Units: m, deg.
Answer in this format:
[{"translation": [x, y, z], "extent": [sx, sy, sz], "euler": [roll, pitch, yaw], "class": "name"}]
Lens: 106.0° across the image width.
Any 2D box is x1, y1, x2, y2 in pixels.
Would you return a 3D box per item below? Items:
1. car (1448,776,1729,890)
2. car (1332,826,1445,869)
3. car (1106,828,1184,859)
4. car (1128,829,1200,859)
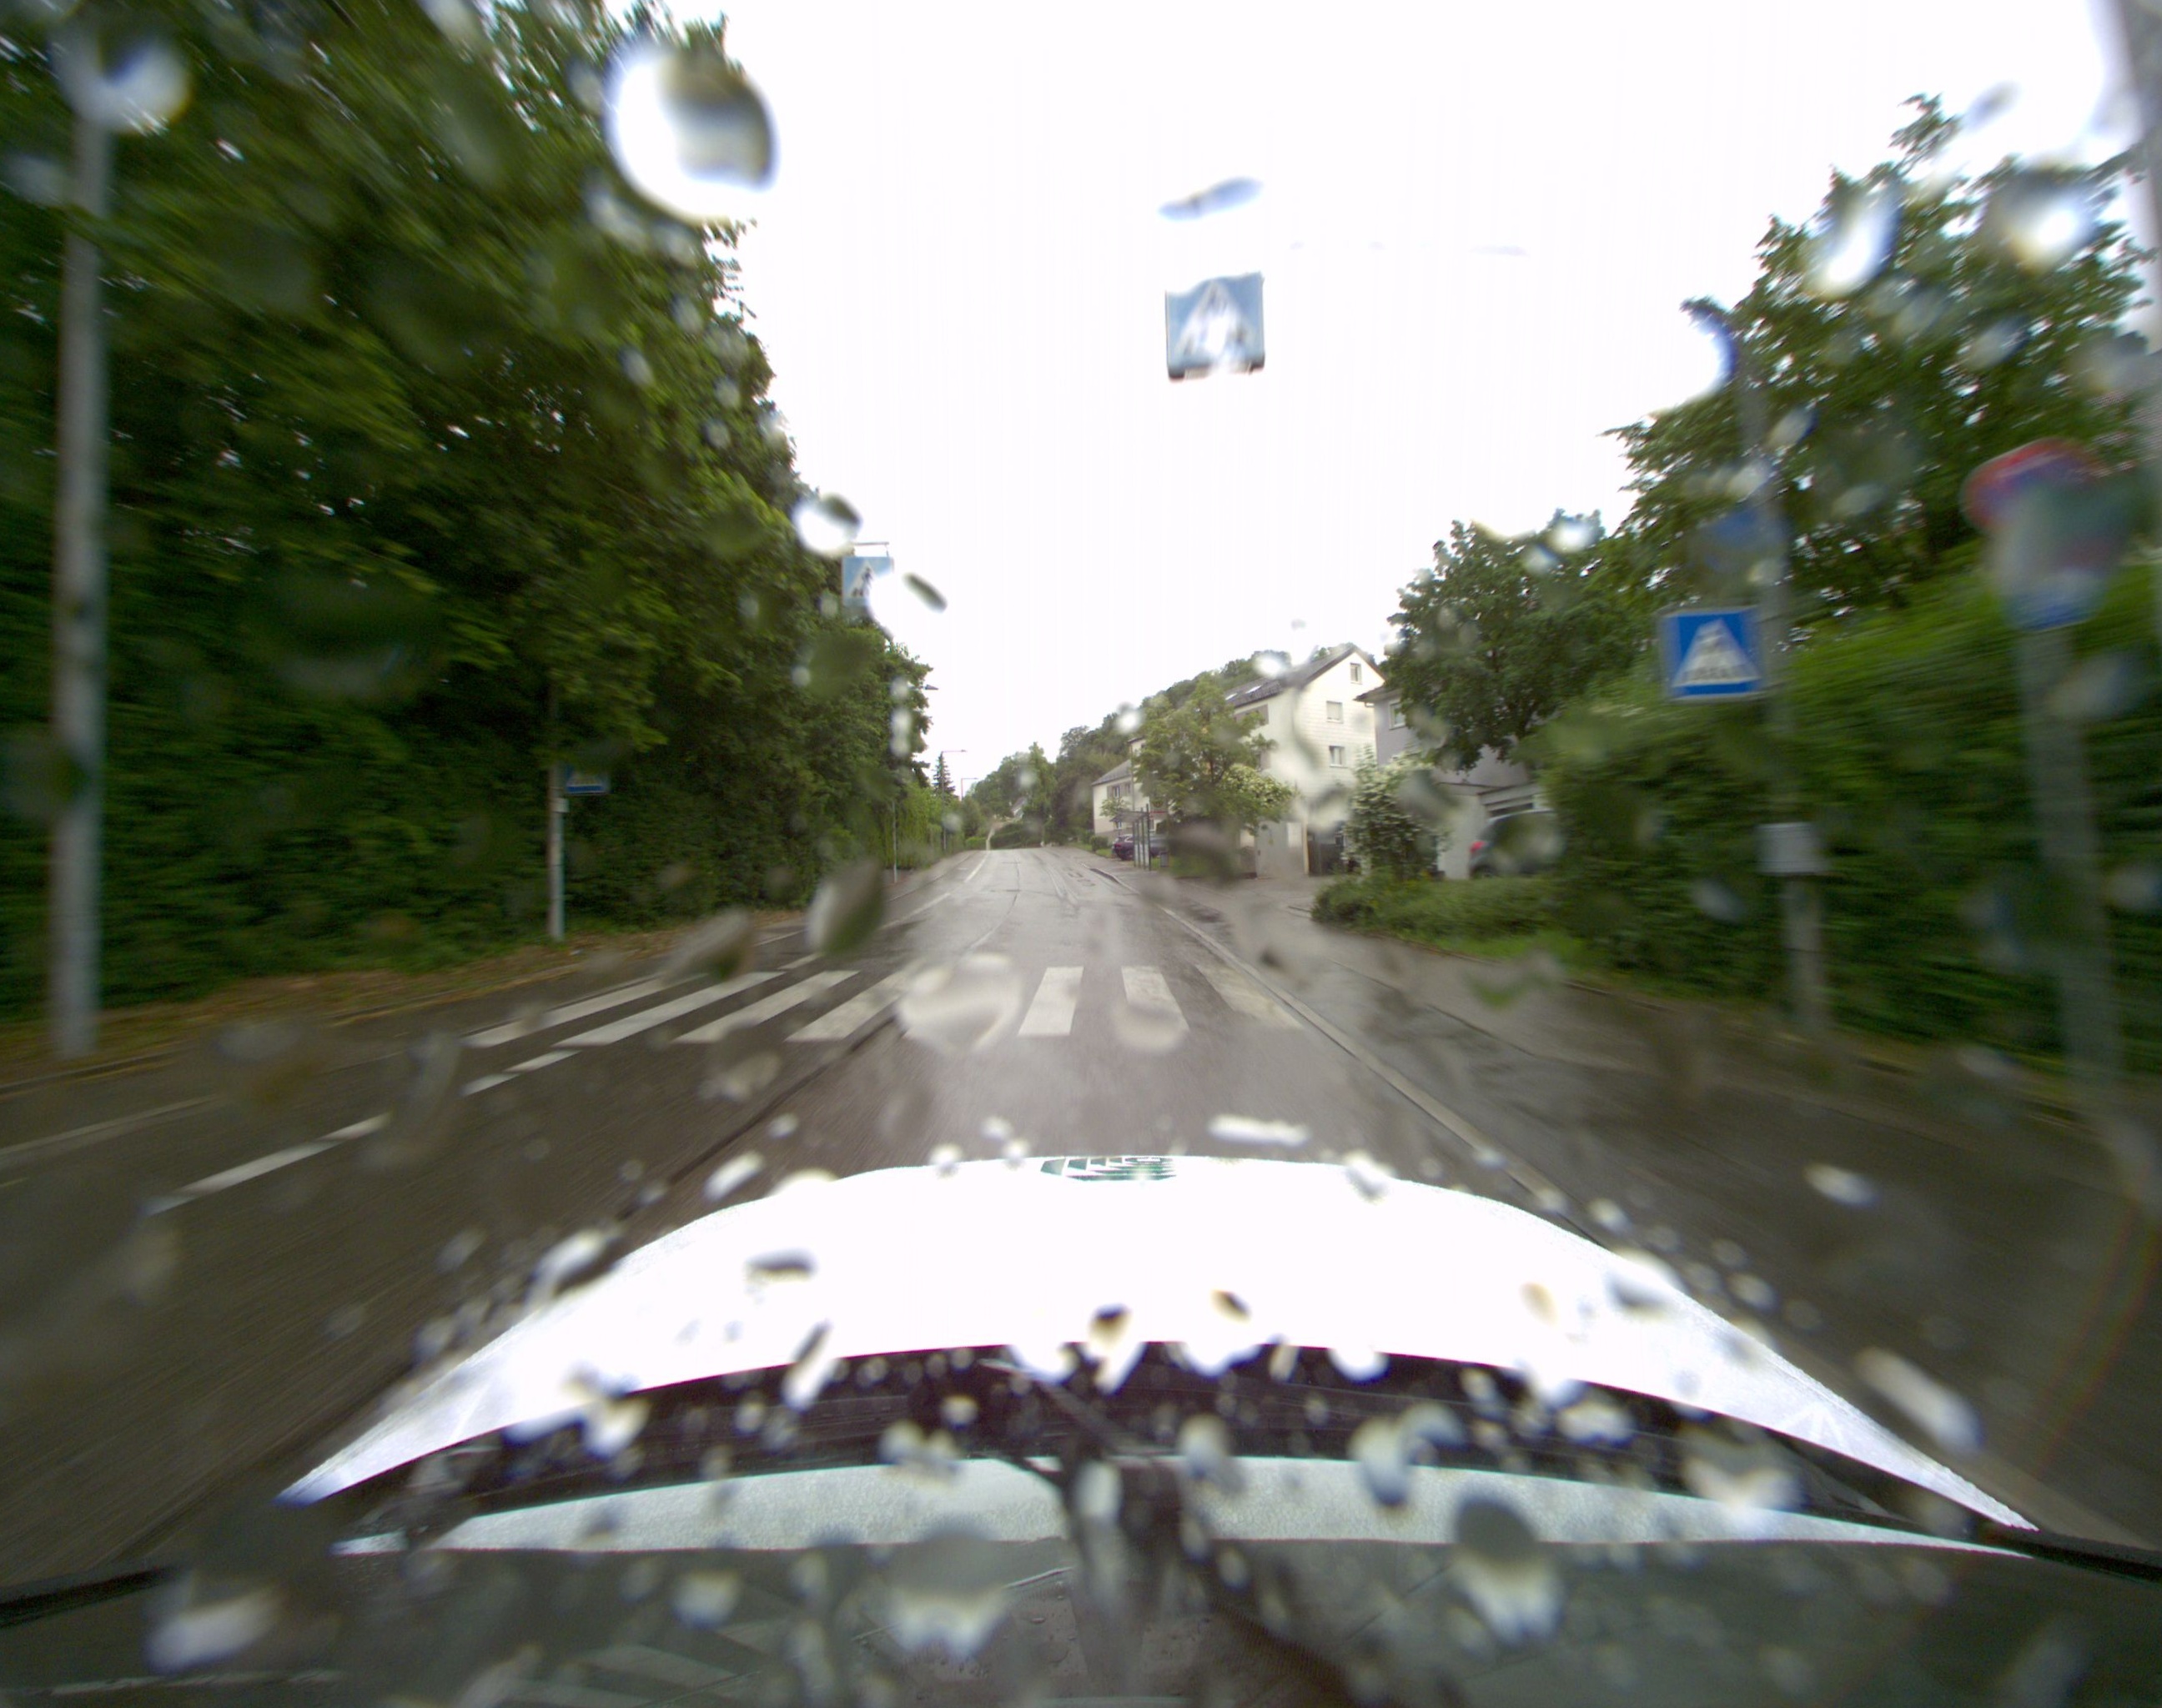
[{"translation": [8.635, -0.265, 14.247], "extent": [1.726, 1.563, 3.766], "euler": [-5, -1, -22], "class": "car"}, {"translation": [11.970, -0.237, 31.828], "extent": [3.694, 1.431, 1.793], "euler": [-3, -2, -5], "class": "car"}, {"translation": [4.001, -0.707, 51.445], "extent": [4.529, 1.660, 1.849], "euler": [-4, 3, -12], "class": "car"}, {"translation": [4.719, -0.604, 46.335], "extent": [3.739, 1.458, 1.721], "euler": [-3, 2, -7], "class": "car"}]
